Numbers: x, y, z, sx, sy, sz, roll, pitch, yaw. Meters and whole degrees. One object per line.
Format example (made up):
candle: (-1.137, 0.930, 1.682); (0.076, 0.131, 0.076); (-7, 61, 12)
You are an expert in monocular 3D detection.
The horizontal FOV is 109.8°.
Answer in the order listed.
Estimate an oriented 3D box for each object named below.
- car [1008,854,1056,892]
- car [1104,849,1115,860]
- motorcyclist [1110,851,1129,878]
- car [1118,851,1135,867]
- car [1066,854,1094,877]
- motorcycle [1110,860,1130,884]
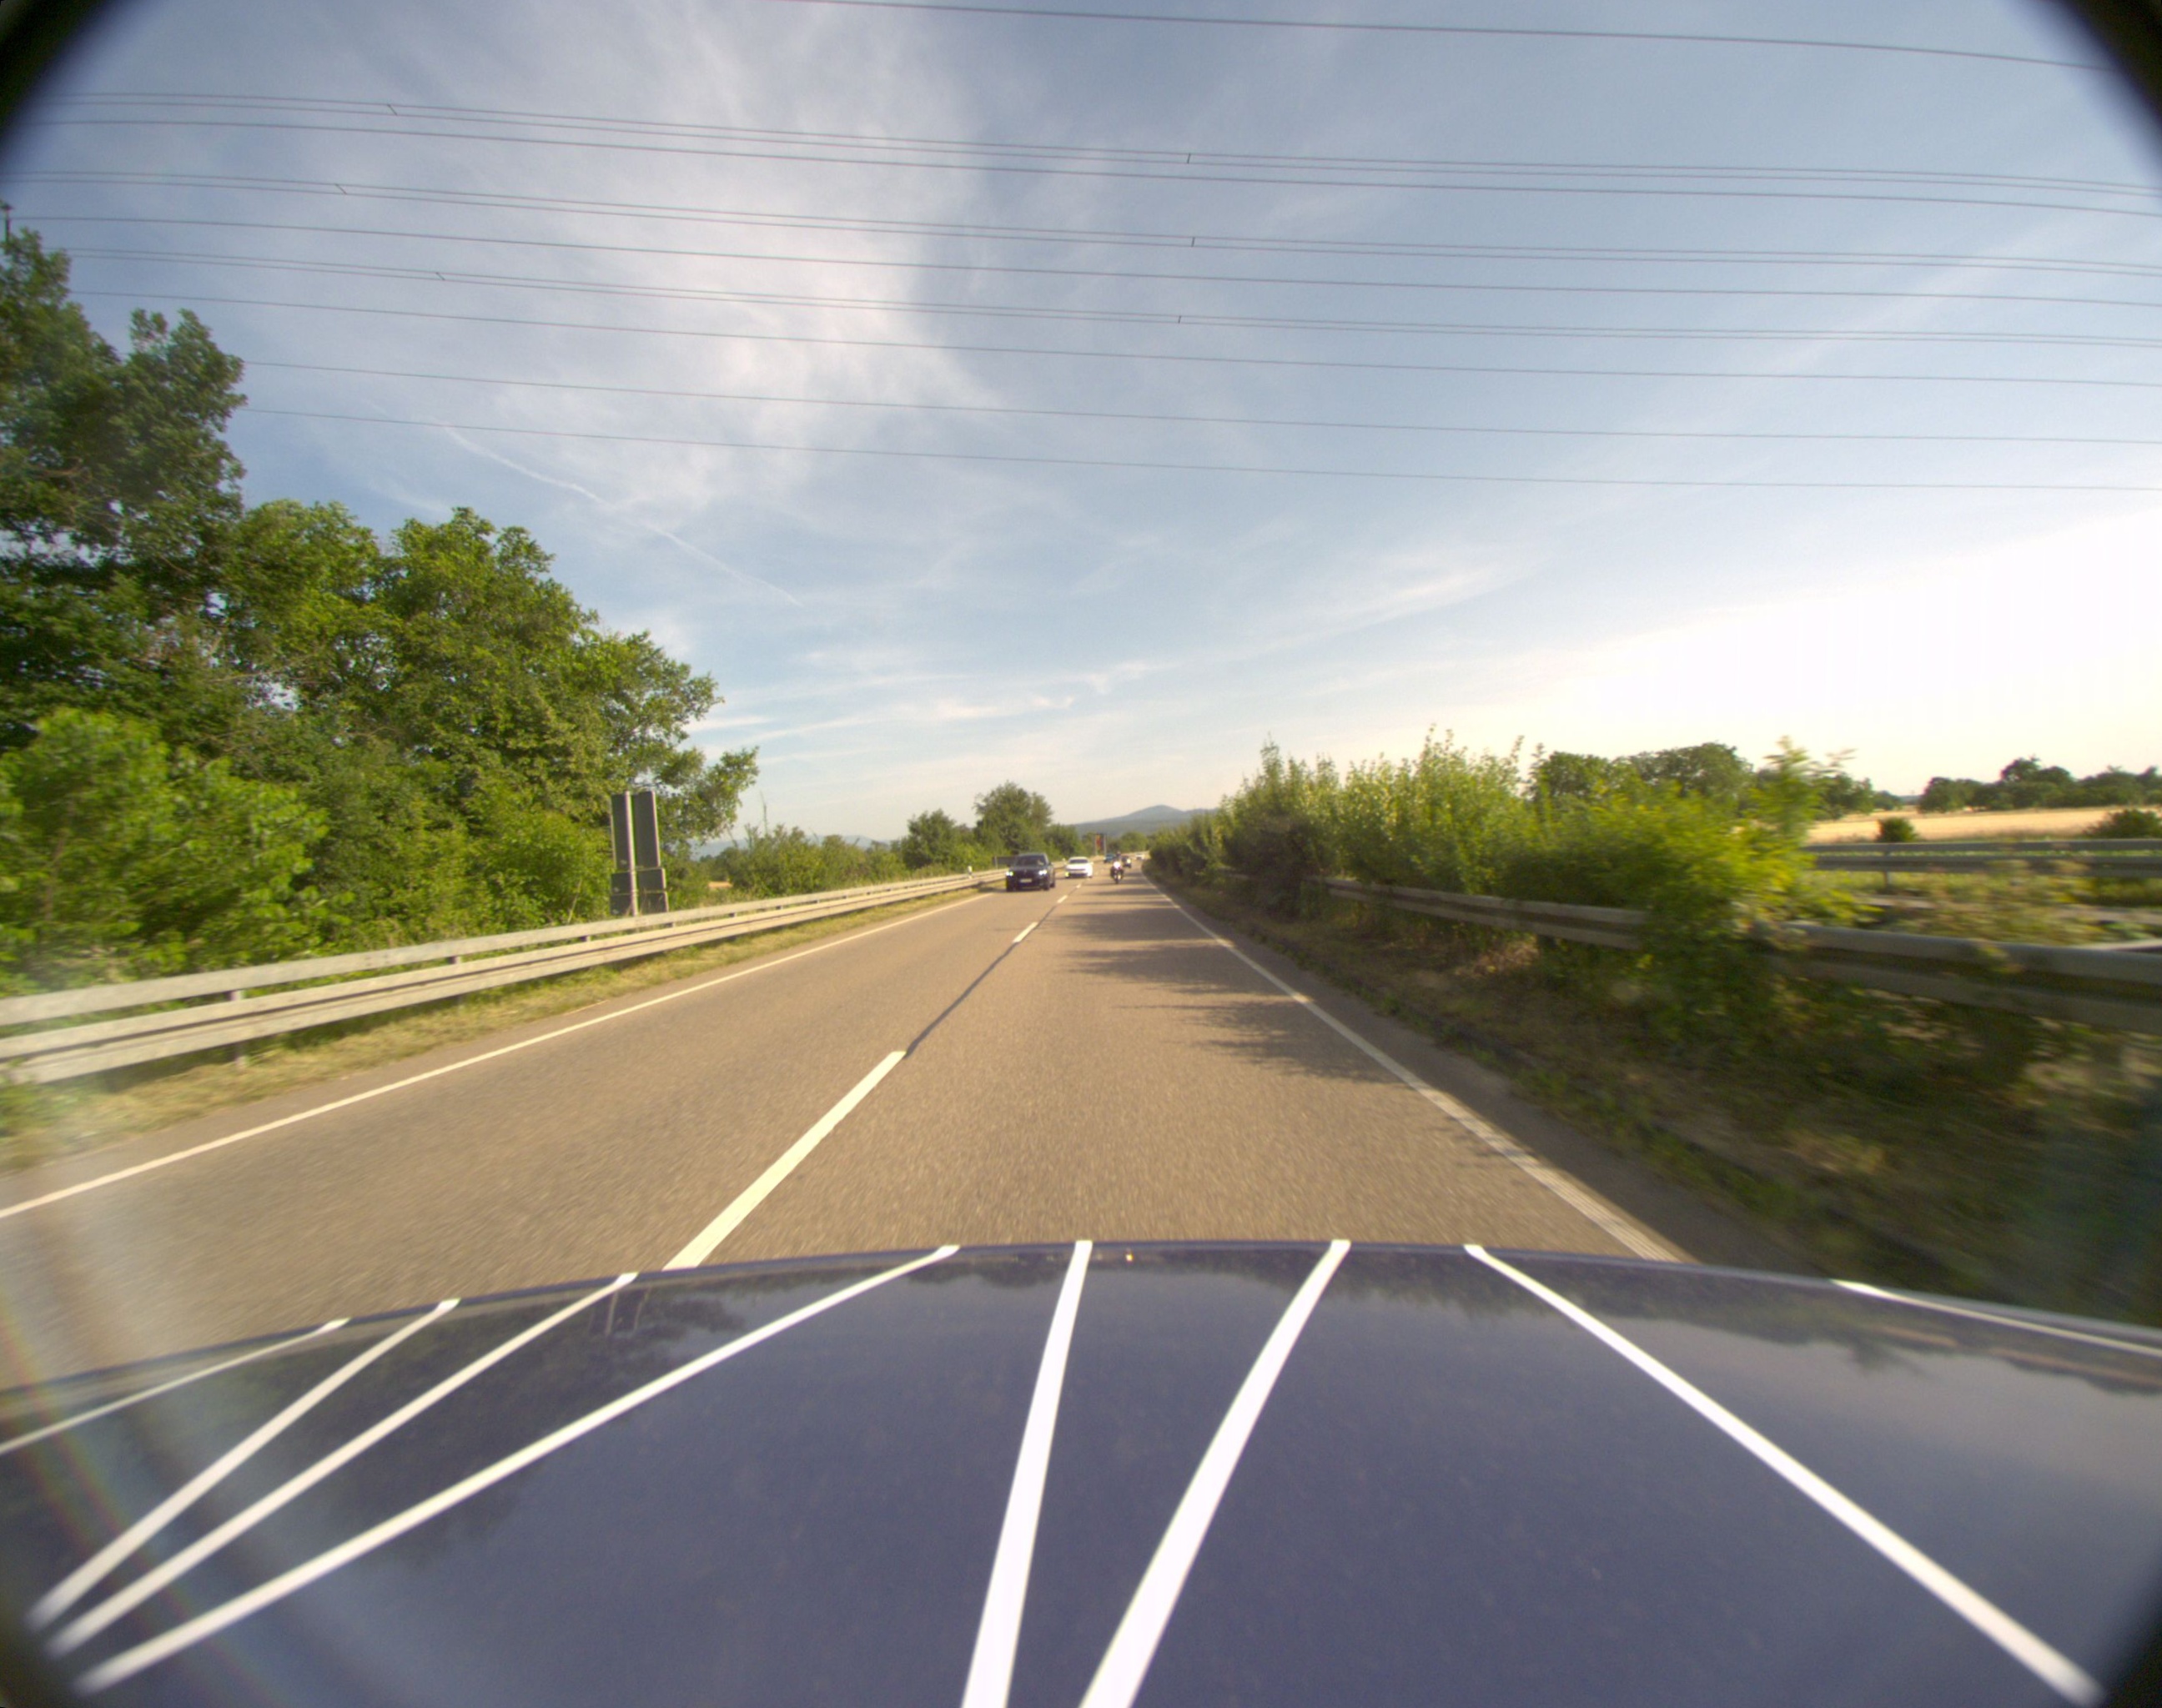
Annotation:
car: (-2.276, 0.855, 36.287); (1.878, 1.630, 4.000); (-2, 0, 2)
car: (4.541, 0.066, 120.848); (1.677, 1.541, 3.827); (-2, 1, 2)
motorcyclist: (2.012, 0.534, 39.727); (0.937, 1.344, 1.142); (-2, 1, 0)
car: (4.838, 0.502, 80.733); (1.677, 1.541, 3.827); (-2, 1, 2)
car: (-0.042, 0.792, 53.012); (1.869, 1.454, 4.083); (-2, 0, 1)
motorcycle: (2.025, 0.919, 39.755); (0.937, 1.131, 2.582); (-2, 1, 0)
